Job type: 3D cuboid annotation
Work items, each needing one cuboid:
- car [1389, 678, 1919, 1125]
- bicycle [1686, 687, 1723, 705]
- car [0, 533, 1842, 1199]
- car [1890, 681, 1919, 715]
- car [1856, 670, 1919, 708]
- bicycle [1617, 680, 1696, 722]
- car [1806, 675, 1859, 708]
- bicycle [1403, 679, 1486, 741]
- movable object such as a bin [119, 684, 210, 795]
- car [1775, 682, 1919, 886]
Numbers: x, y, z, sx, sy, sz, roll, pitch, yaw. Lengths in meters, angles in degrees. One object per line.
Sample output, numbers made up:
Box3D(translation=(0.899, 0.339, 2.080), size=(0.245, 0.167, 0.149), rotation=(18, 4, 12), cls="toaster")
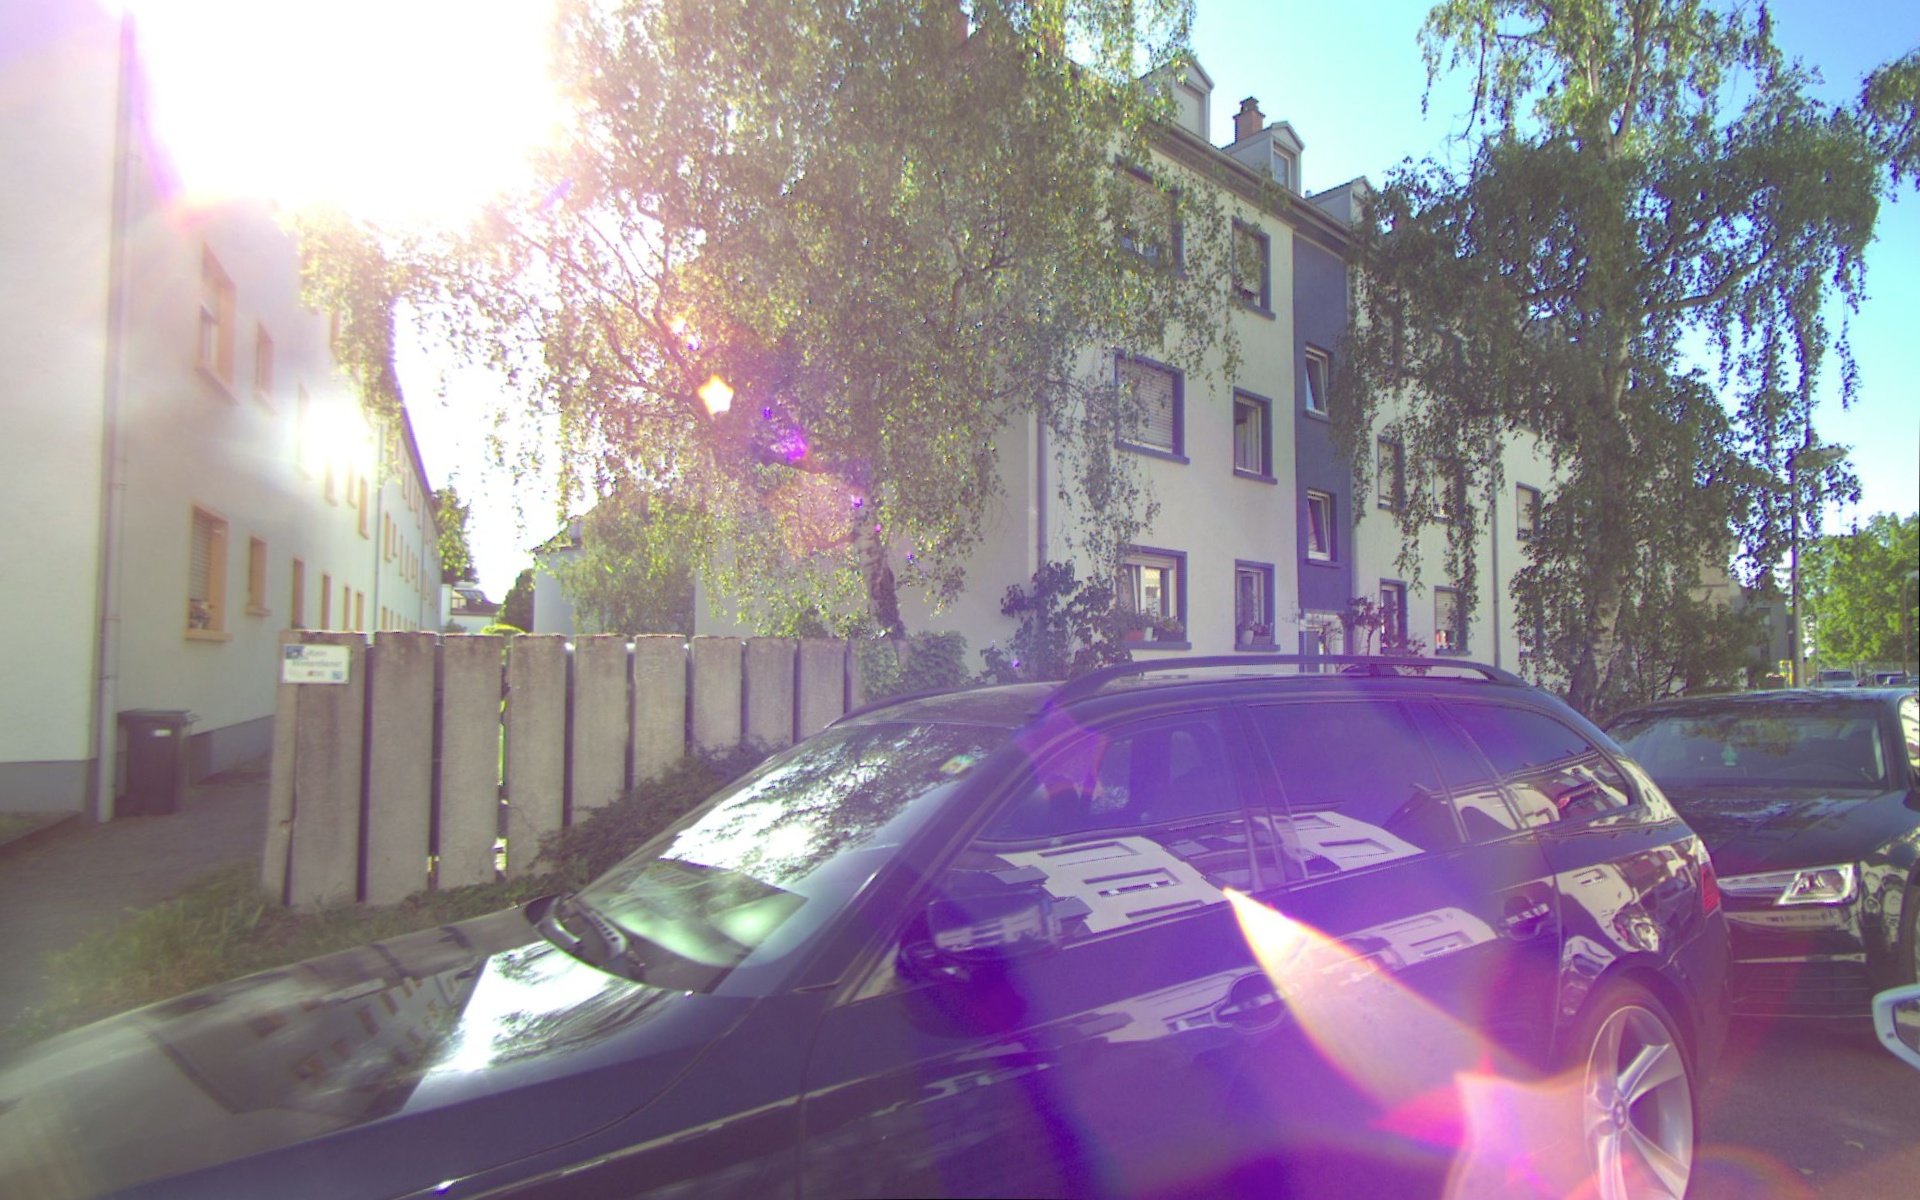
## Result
Box3D(translation=(4.264, 1.187, 5.258), size=(4.237, 1.460, 1.668), rotation=(4, -8, -35), cls="car")
Box3D(translation=(41.877, 5.400, 56.513), size=(1.626, 0.948, 0.545), rotation=(-4, -6, 37), cls="bicycle")
Box3D(translation=(0.210, 0.837, 2.563), size=(4.568, 1.471, 1.671), rotation=(3, -7, -31), cls="car")
Box3D(translation=(42.661, 4.334, 44.425), size=(1.636, 1.462, 3.861), rotation=(-4, -6, 34), cls="car")
Box3D(translation=(48.634, 4.688, 52.671), size=(1.871, 1.879, 4.184), rotation=(-2, -6, 35), cls="car")
Box3D(translation=(20.430, 2.950, 29.495), size=(0.563, 1.092, 1.808), rotation=(3, -2, -35), cls="bicycle")
Box3D(translation=(56.907, 5.971, 65.579), size=(1.967, 2.039, 4.442), rotation=(-4, -6, 34), cls="car")
Box3D(translation=(9.506, 2.136, 19.737), size=(0.412, 1.166, 1.396), rotation=(4, -6, -42), cls="bicycle")
Box3D(translation=(-7.193, 1.246, 9.104), size=(0.475, 0.944, 0.552), rotation=(2, -3, -23), cls="movable object such as a bin")
Box3D(translation=(8.529, 1.431, 8.394), size=(3.928, 1.460, 1.546), rotation=(4, -7, -35), cls="car")
